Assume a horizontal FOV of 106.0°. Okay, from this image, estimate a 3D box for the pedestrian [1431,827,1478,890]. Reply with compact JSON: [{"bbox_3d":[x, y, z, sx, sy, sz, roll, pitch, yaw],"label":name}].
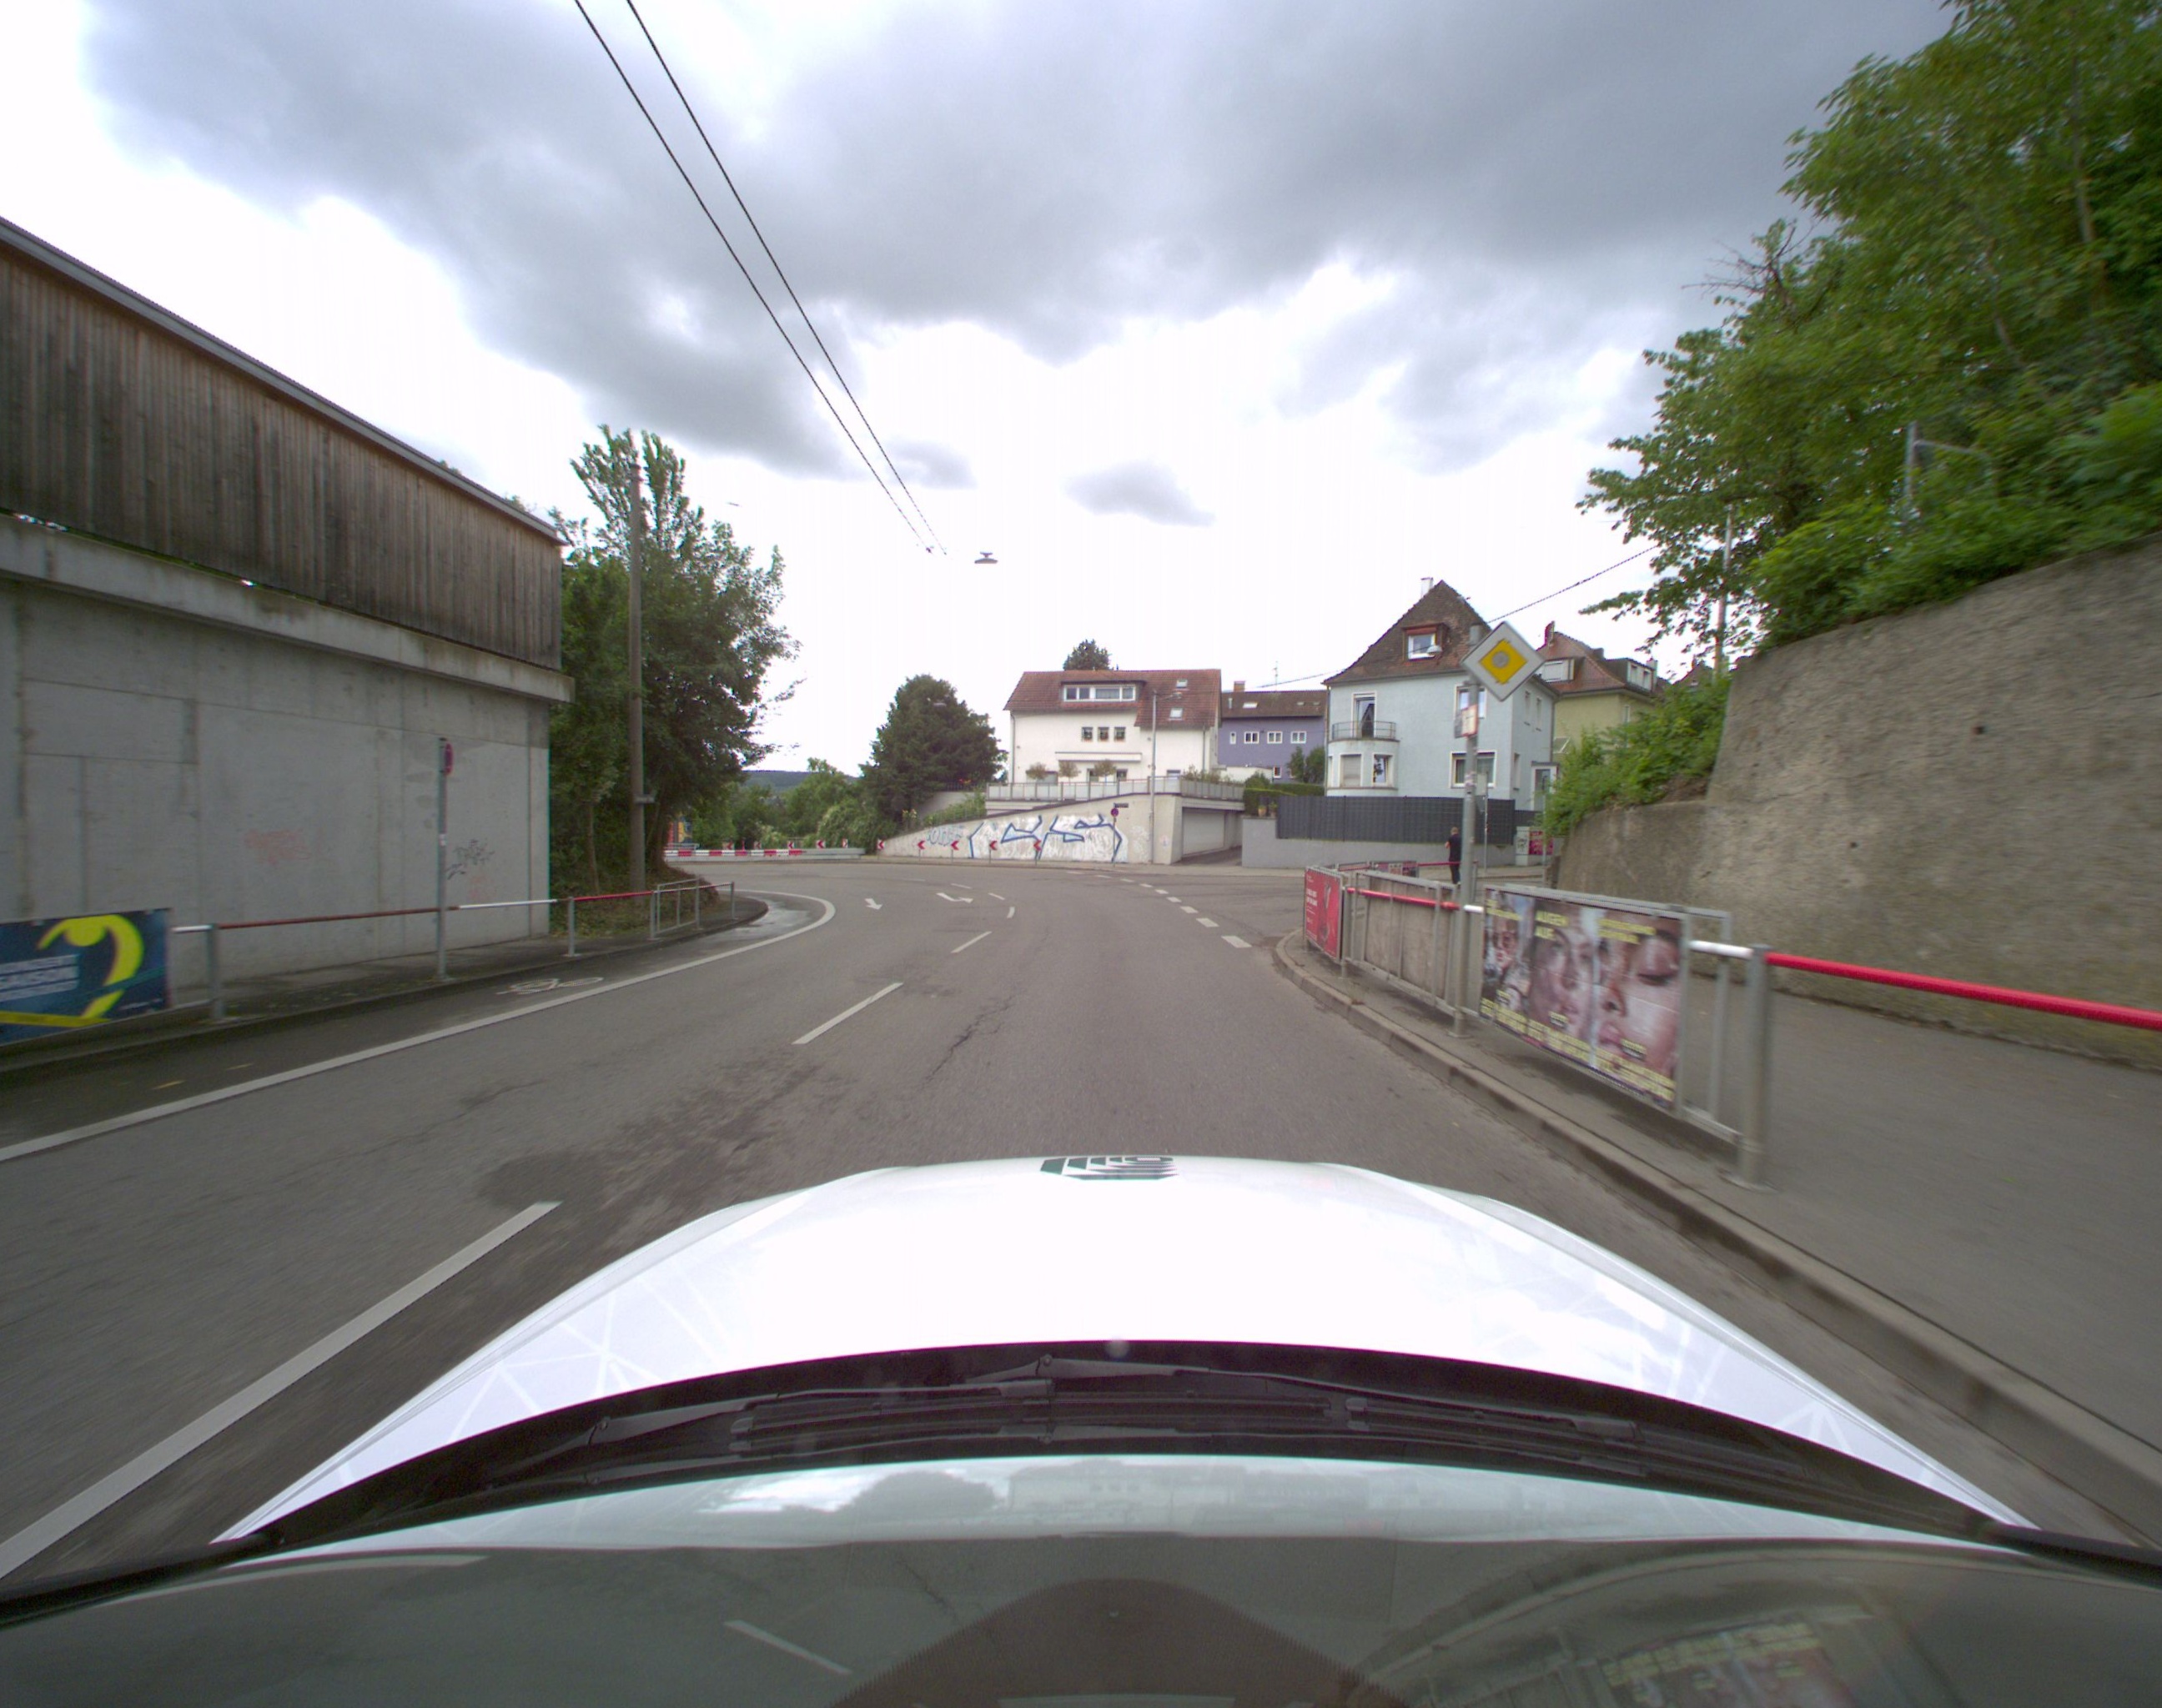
[{"bbox_3d":[10.979,0.105,23.959,0.826,1.810,1.003,-2,2,-43],"label":"pedestrian"}]
